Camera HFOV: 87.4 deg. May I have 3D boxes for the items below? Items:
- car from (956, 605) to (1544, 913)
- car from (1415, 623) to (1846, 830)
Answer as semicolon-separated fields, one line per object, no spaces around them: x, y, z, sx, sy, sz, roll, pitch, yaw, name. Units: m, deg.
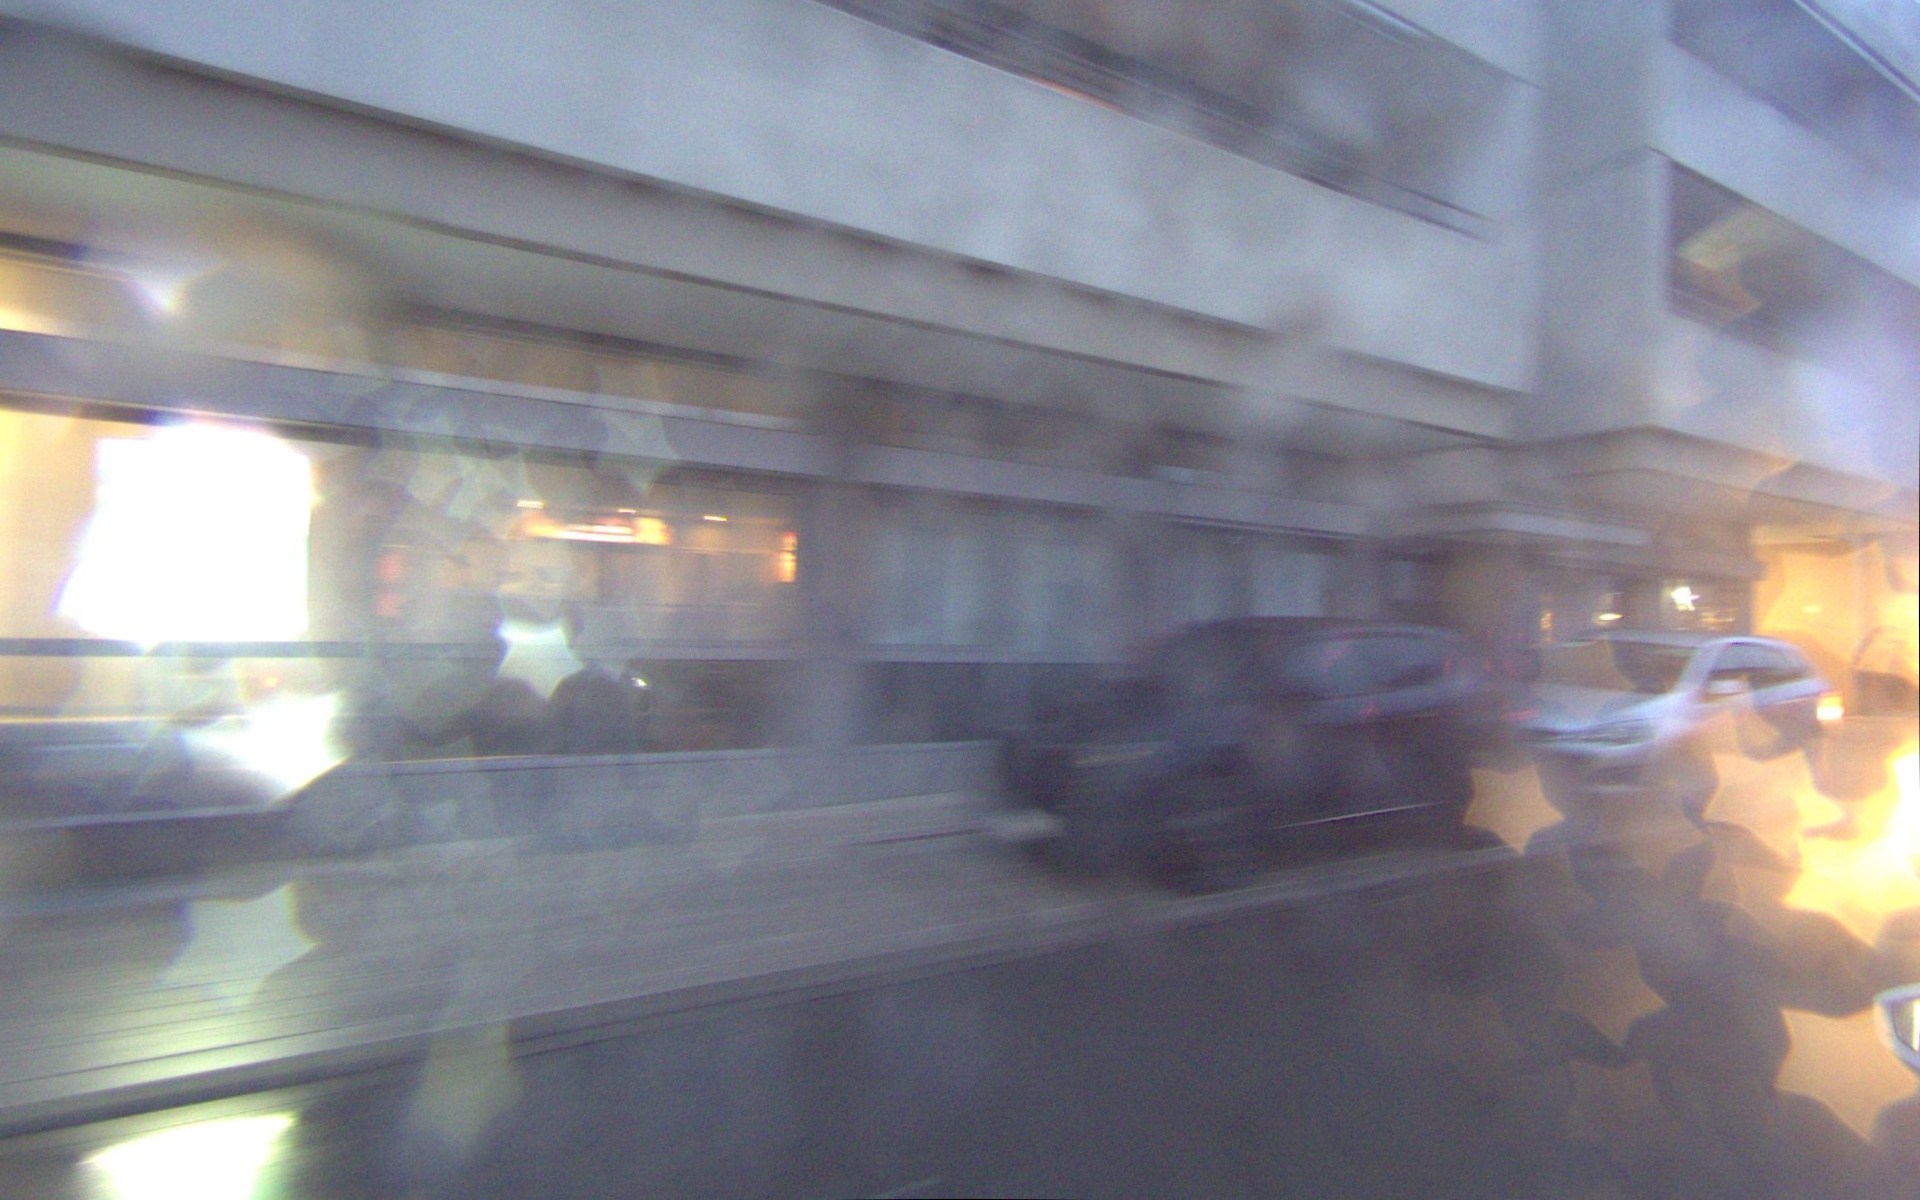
2.061;0.863;6.842;3.882;1.553;1.607;1;0;-30;car
6.291;0.993;9.280;4.379;1.466;1.666;1;0;-32;car
